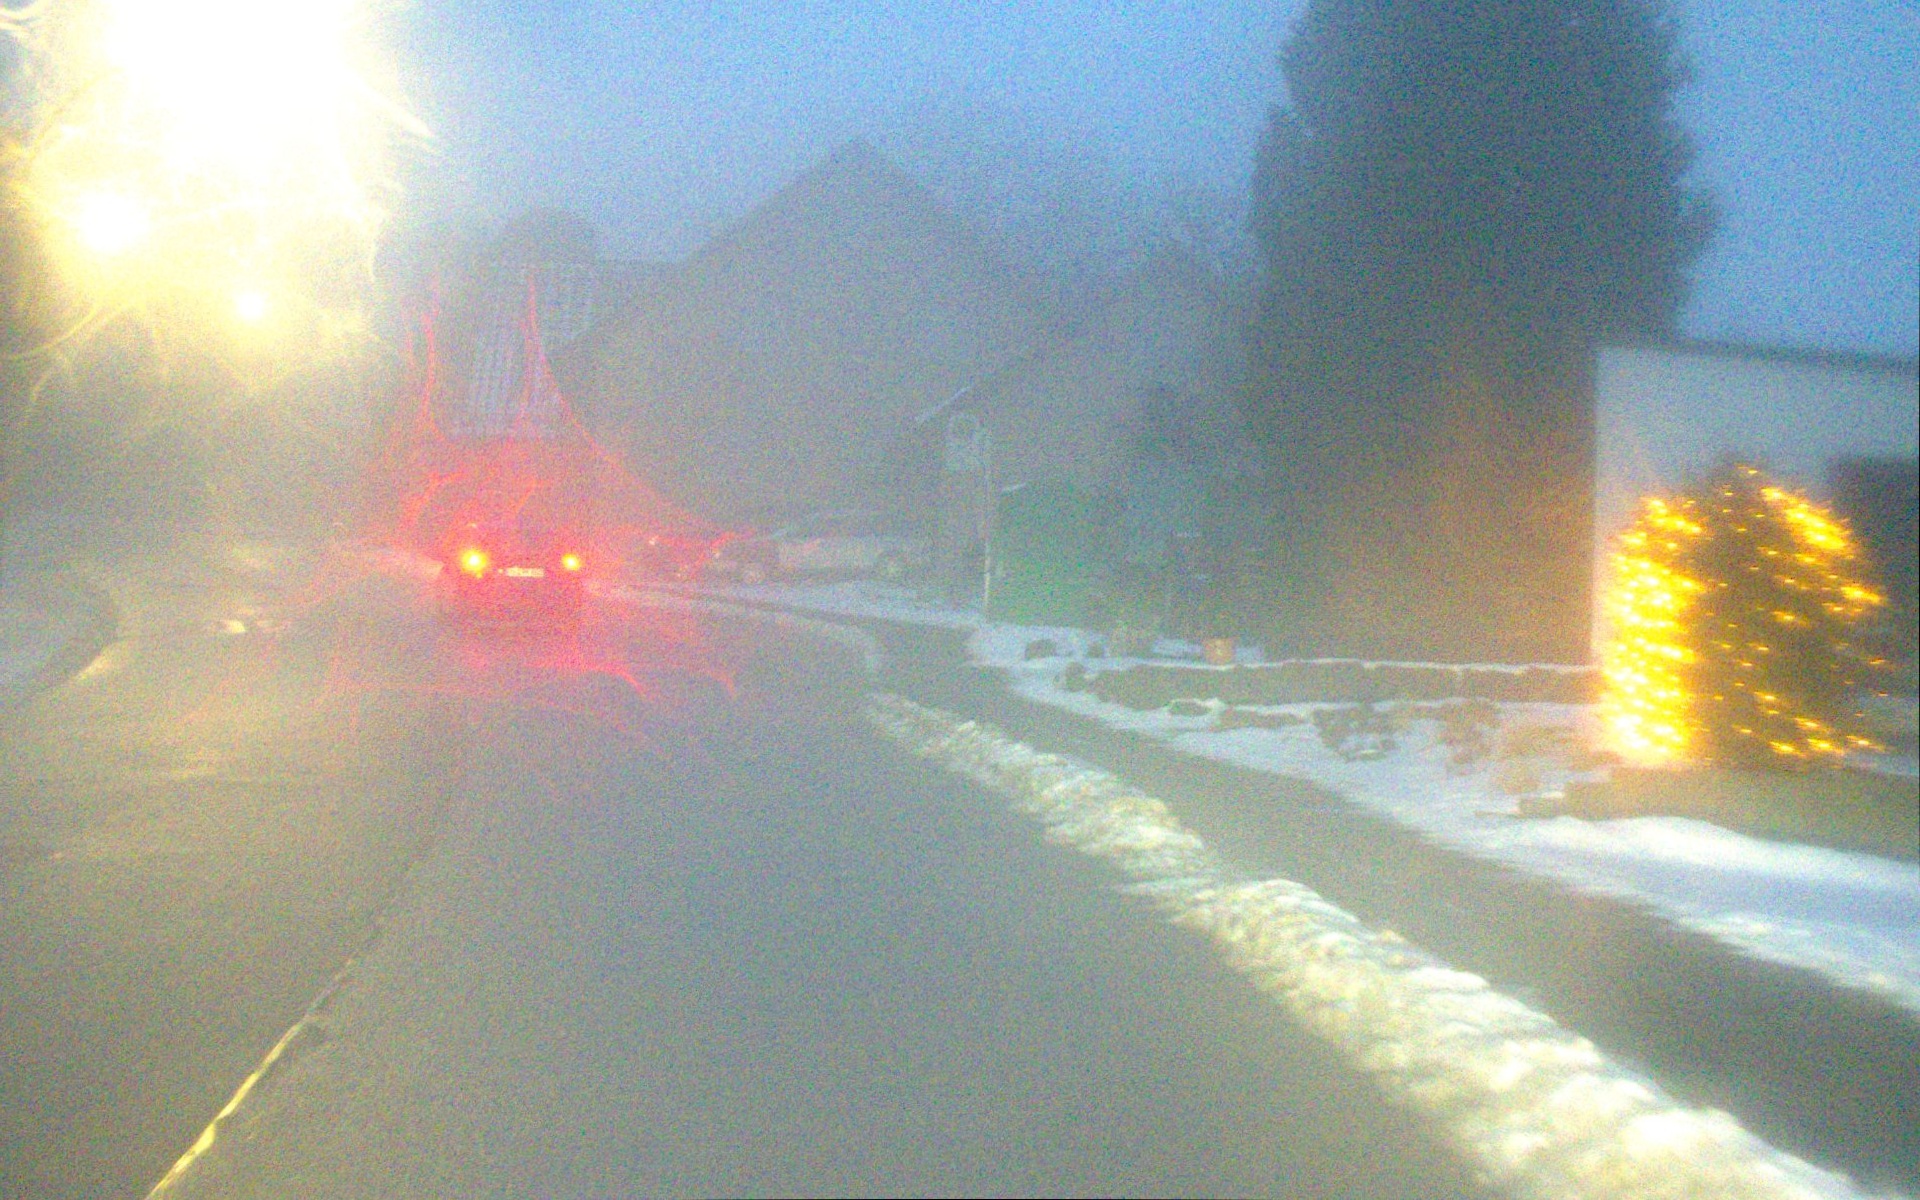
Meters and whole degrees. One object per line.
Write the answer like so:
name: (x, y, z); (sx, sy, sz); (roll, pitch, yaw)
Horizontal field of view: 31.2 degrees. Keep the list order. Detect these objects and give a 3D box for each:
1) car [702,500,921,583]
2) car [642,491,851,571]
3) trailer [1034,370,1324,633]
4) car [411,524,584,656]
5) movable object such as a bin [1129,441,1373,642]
car: (-2.903, -1.137, 67.582); (4.242, 1.554, 2.000); (0, -1, -2)
car: (-4.384, -1.394, 70.393); (4.157, 1.554, 1.946); (0, -1, -7)
trailer: (3.110, -1.395, 50.252); (2.874, 3.548, 5.064); (2, 0, -12)
car: (-6.390, -0.095, 47.228); (1.993, 1.731, 3.879); (0, -1, -13)
movable object such as a bin: (3.794, -0.766, 45.695); (2.386, 2.460, 4.516); (2, 0, -5)
